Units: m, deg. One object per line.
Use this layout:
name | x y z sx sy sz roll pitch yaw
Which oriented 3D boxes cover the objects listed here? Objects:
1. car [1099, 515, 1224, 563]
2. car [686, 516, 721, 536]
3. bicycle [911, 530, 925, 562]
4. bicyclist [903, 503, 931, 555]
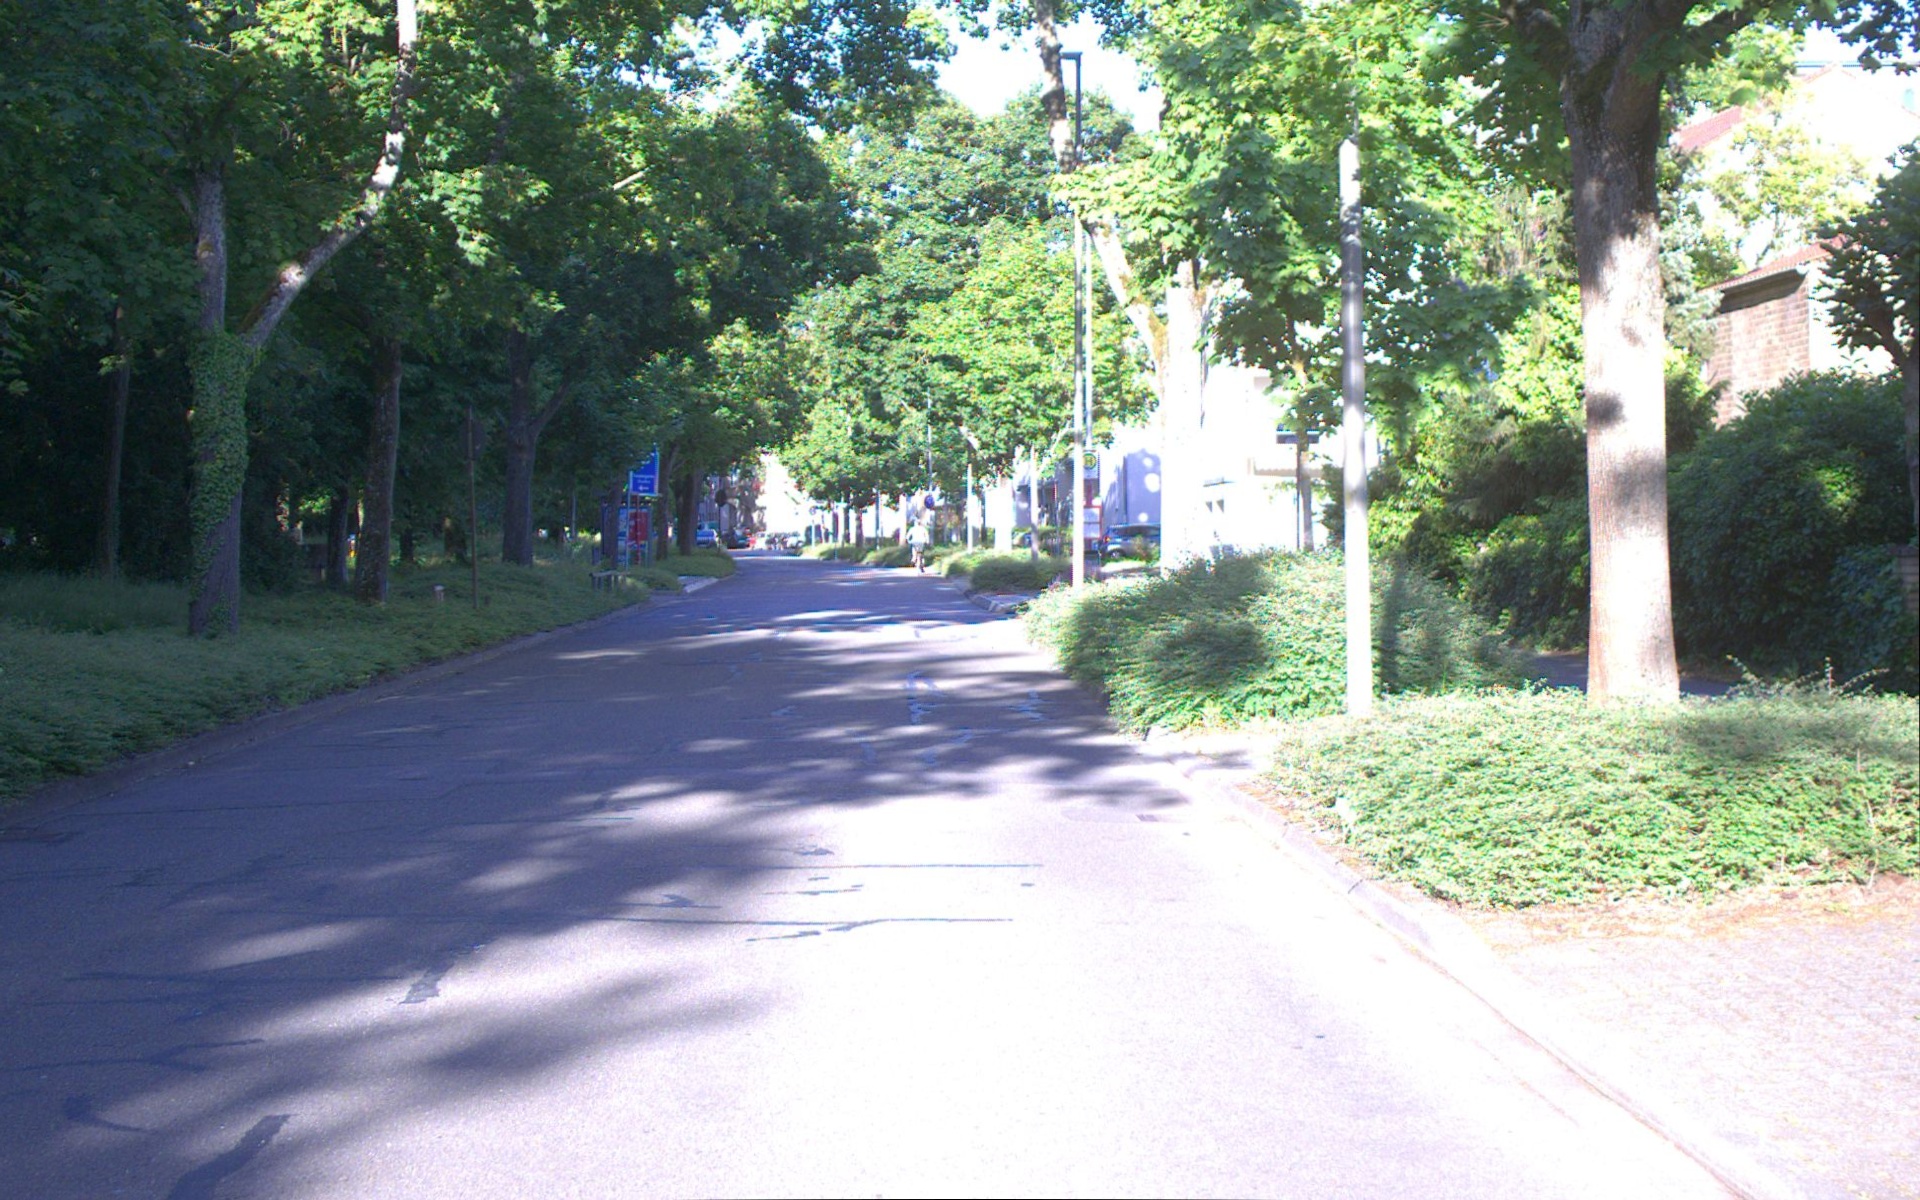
car | 7.235 -2.194 123.084 4.351 1.349 2.143 3 5 5
car | -18.051 -5.230 241.799 1.993 1.349 3.542 1 1 -11
bicycle | -1.357 -1.760 111.896 0.439 0.975 1.662 0 2 -1
bicyclist | -1.407 -2.310 111.830 0.867 1.635 1.115 1 2 -1
